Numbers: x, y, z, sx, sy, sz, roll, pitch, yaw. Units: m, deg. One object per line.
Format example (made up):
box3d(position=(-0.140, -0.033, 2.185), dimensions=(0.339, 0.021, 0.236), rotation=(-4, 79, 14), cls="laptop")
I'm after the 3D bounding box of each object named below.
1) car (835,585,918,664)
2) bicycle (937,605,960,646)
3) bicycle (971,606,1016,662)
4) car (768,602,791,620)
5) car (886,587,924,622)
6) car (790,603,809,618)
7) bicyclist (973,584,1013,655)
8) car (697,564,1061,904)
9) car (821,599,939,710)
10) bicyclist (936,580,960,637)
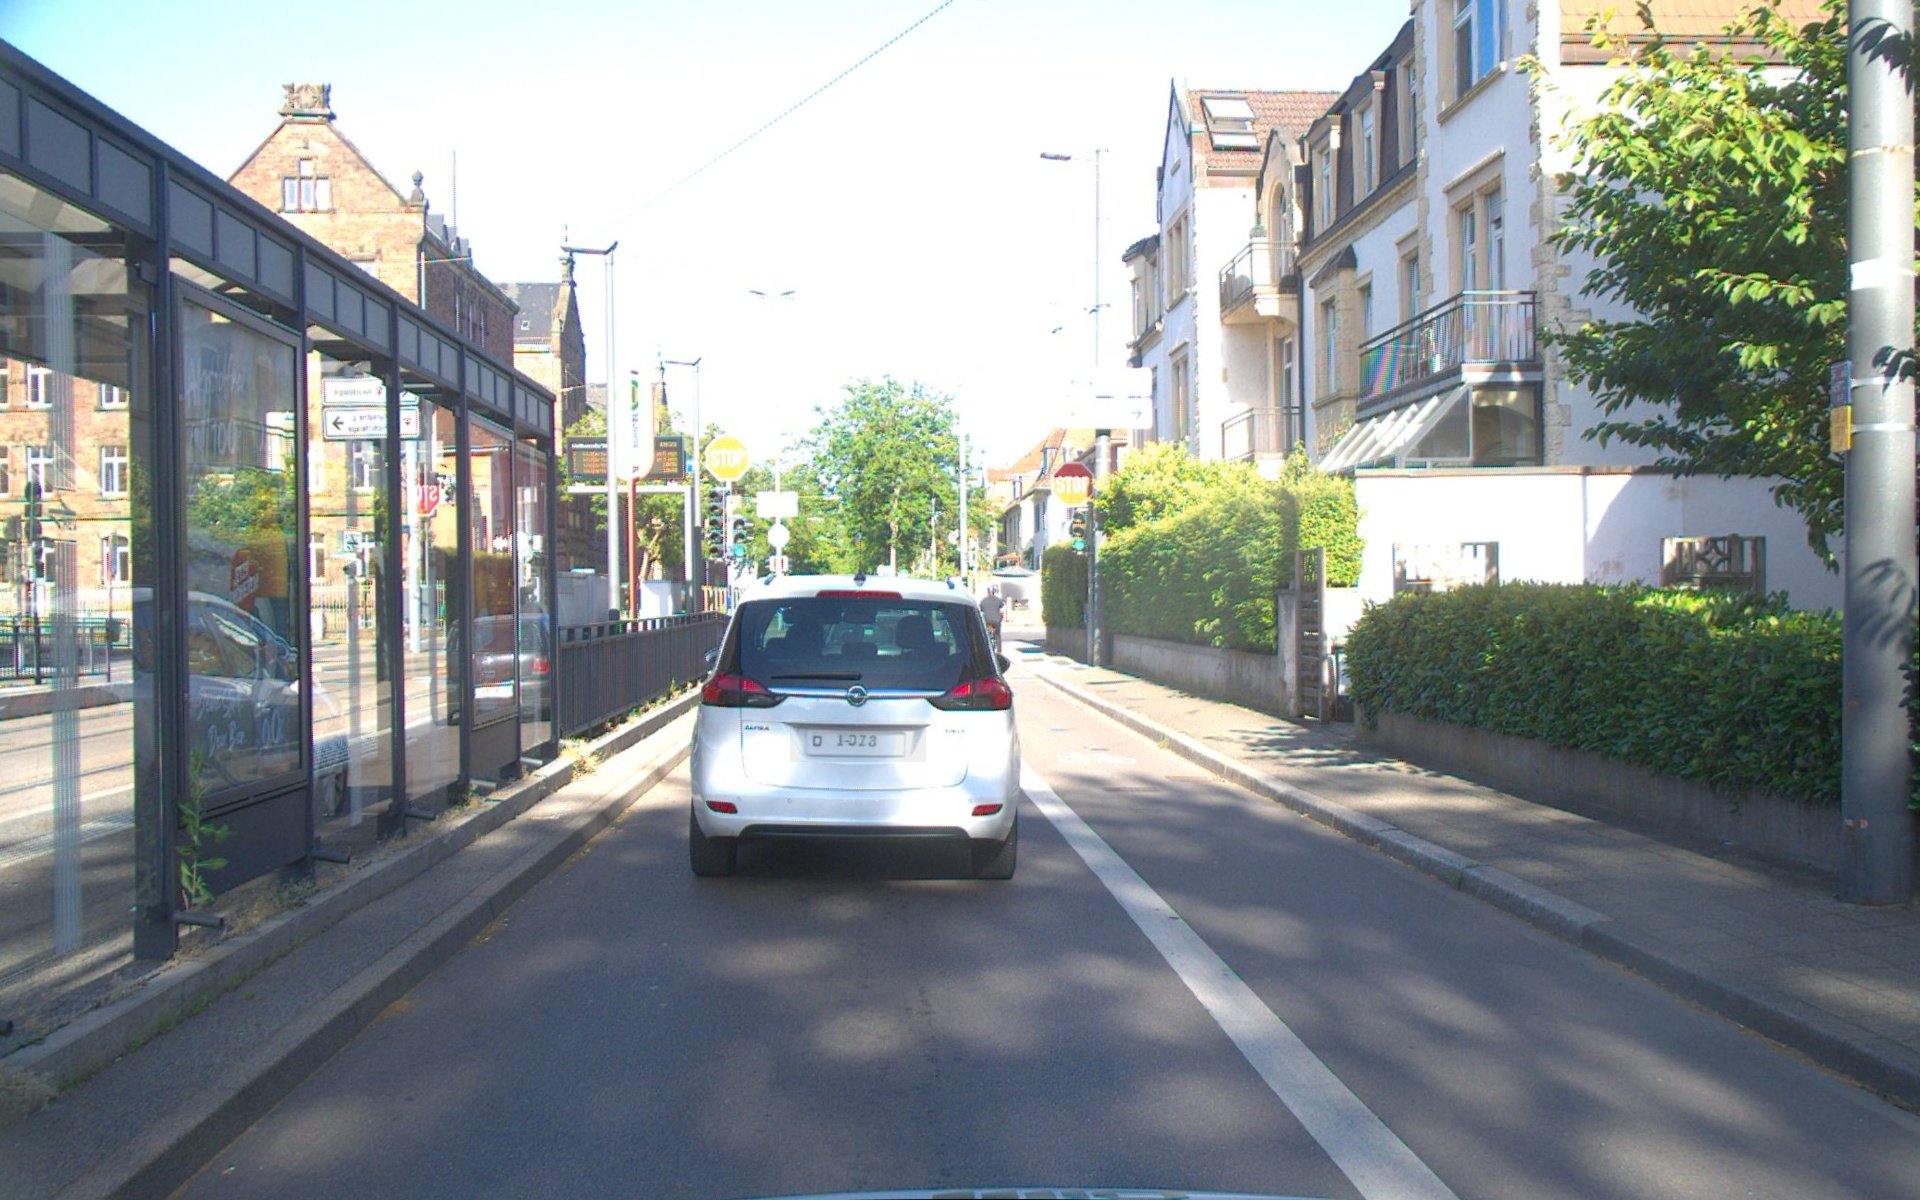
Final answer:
box3d(position=(-1.862, 0.527, 36.973), dimensions=(1.740, 1.660, 3.878), rotation=(0, 0, -3), cls="car")
box3d(position=(-0.348, 0.738, 48.568), dimensions=(0.671, 1.177, 1.619), rotation=(0, 0, -1), cls="bicycle")
box3d(position=(0.712, 0.726, 35.890), dimensions=(0.813, 1.175, 2.093), rotation=(0, 0, -3), cls="bicycle")
box3d(position=(-15.069, 0.904, 138.097), dimensions=(1.549, 1.466, 3.583), rotation=(0, 0, -1), cls="car")
box3d(position=(-2.618, 0.210, 79.650), dimensions=(1.739, 1.660, 3.880), rotation=(0, 0, 0), cls="car")
box3d(position=(-15.720, 1.003, 161.950), dimensions=(1.549, 1.466, 3.583), rotation=(0, 0, -1), cls="car")
box3d(position=(0.708, 0.420, 35.809), dimensions=(0.805, 1.528, 0.933), rotation=(0, 0, -4), cls="bicyclist")
box3d(position=(-0.475, 0.666, 10.148), dimensions=(1.798, 1.670, 3.916), rotation=(0, 0, -2), cls="car")
box3d(position=(-1.117, 0.731, 24.253), dimensions=(1.554, 1.445, 3.899), rotation=(-1, 0, -1), cls="car")
box3d(position=(-0.357, 0.257, 48.586), dimensions=(0.671, 1.663, 1.015), rotation=(0, 0, -1), cls="bicyclist")
